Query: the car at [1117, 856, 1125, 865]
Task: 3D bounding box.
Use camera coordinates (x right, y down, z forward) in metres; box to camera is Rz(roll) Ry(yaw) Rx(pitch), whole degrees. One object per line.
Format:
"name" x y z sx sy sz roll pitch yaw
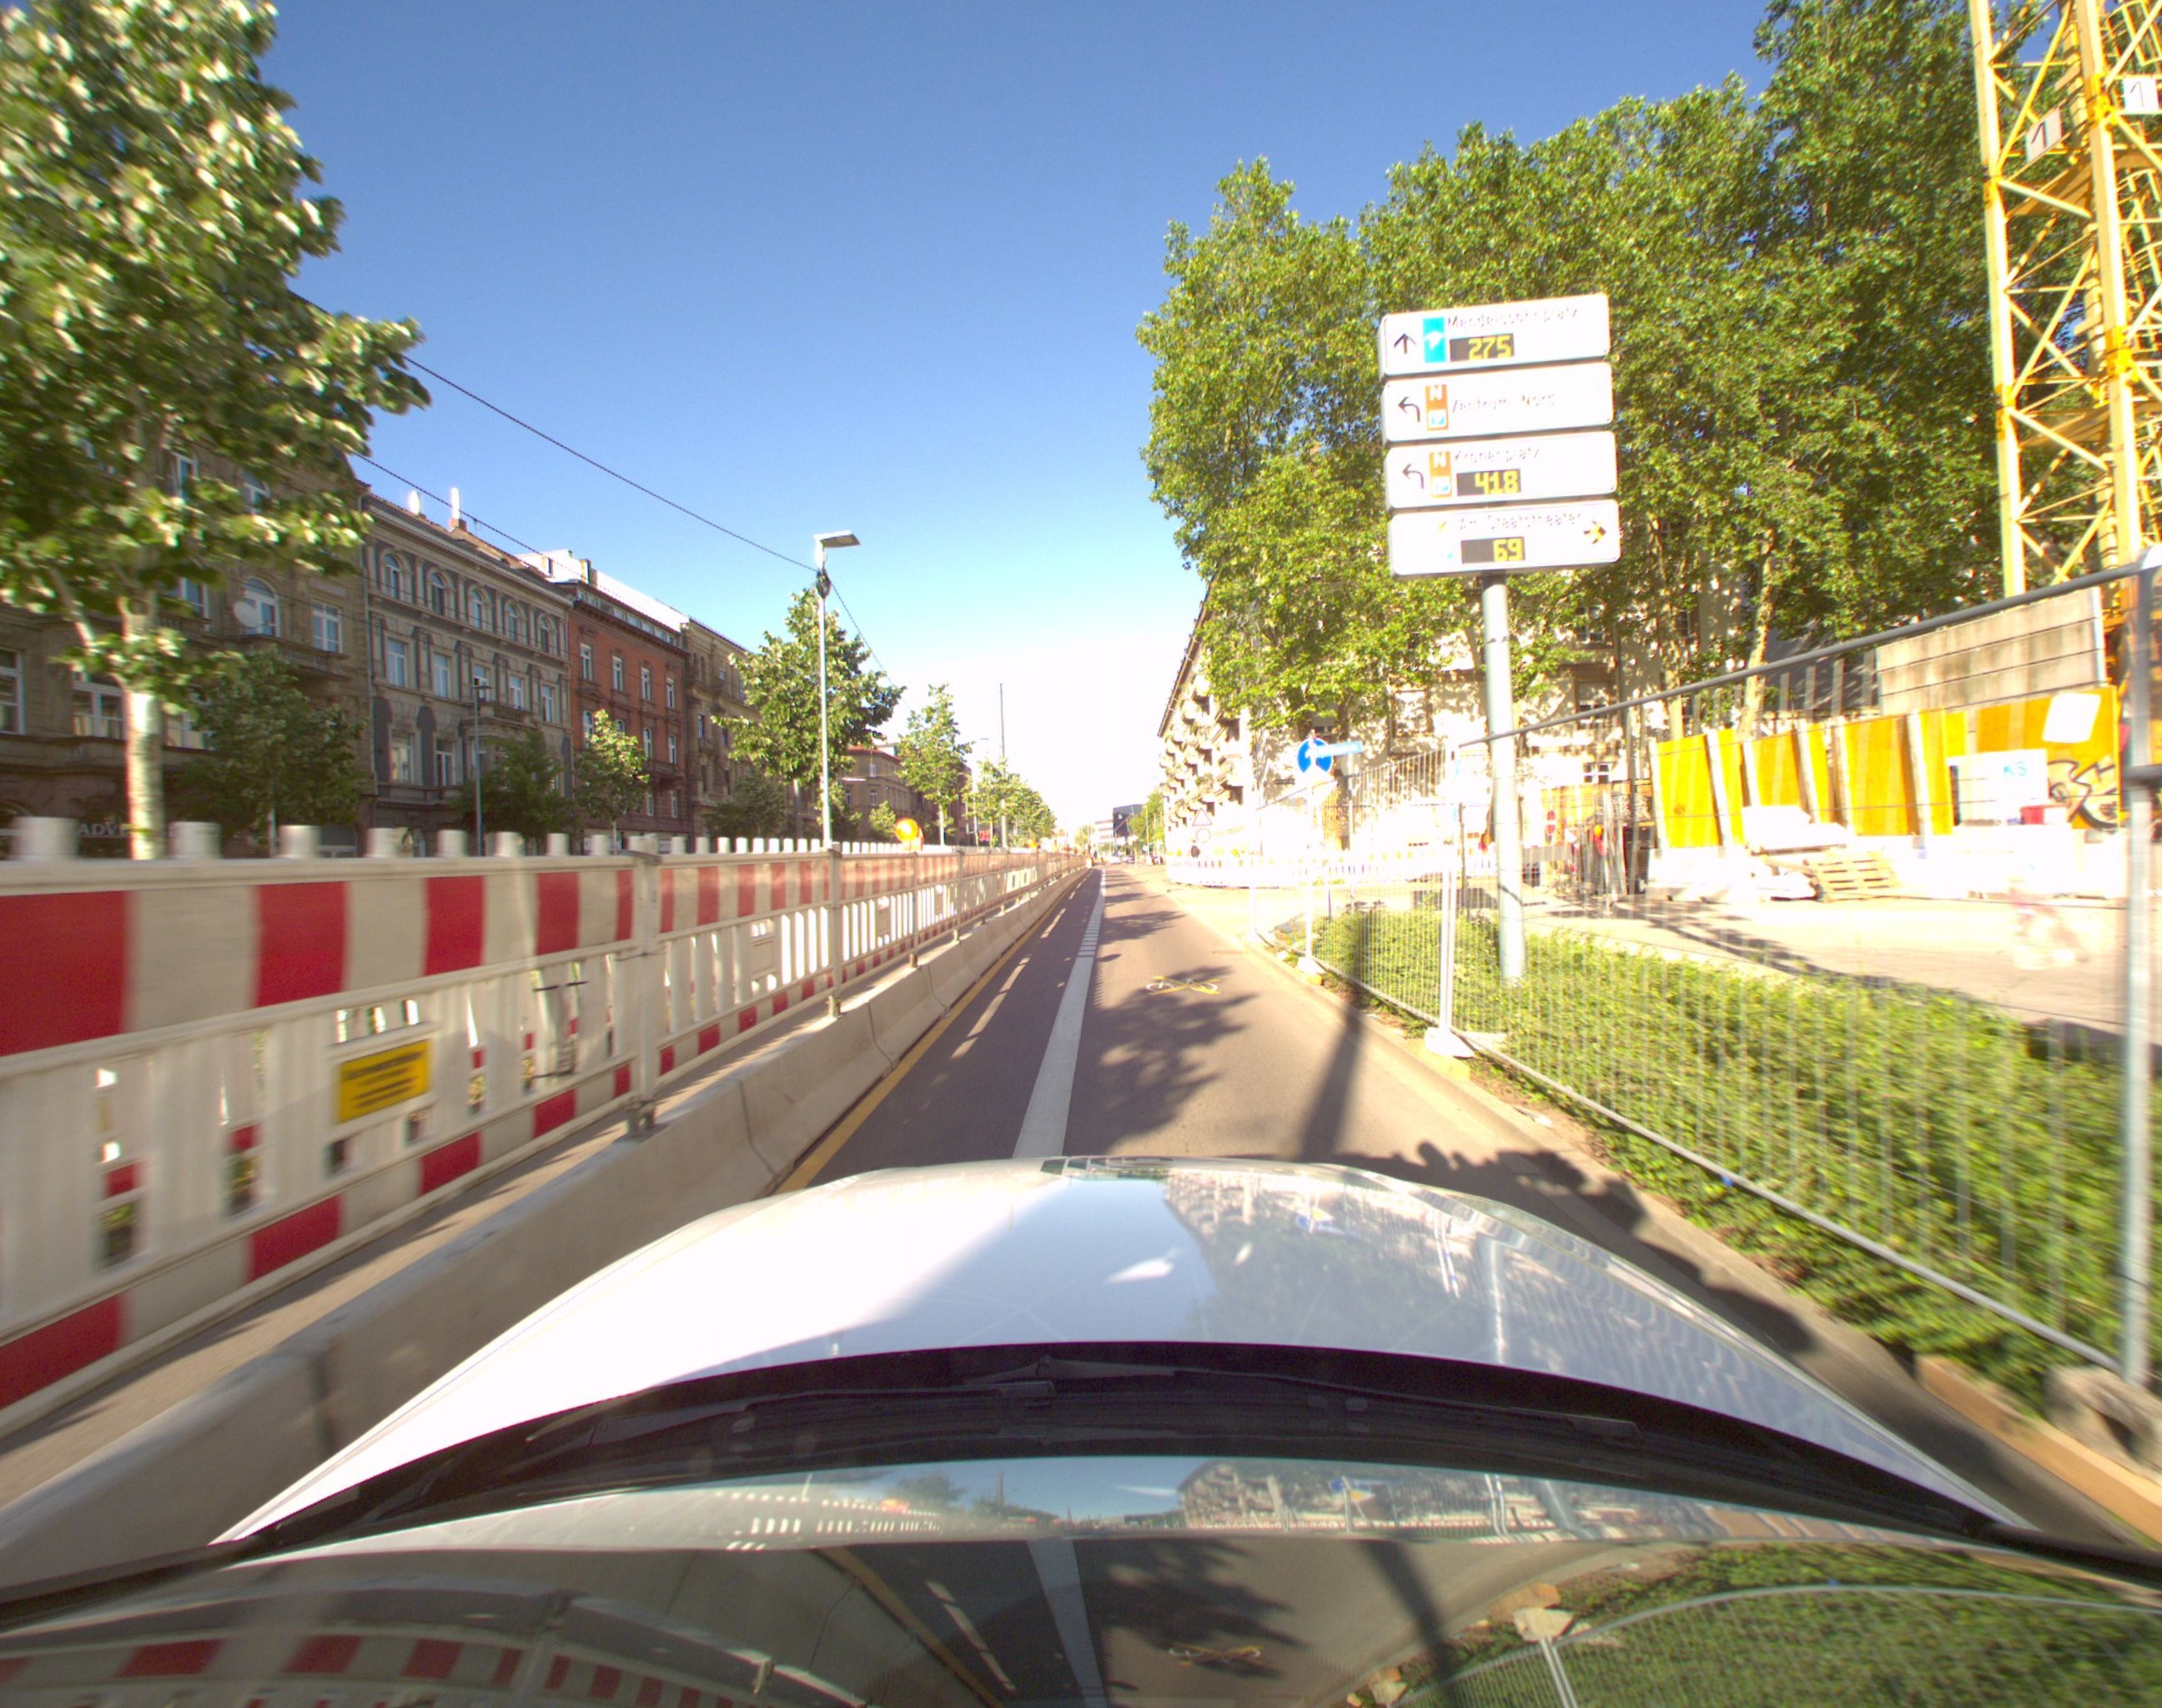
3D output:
"car" 9.551 1.551 194.880 1.876 1.842 3.669 -3 0 2

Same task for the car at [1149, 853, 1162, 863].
"car" 12.871 0.680 140.731 1.875 1.589 3.670 -3 0 3

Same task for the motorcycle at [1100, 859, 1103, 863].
"motorcycle" 4.872 1.612 189.867 0.628 0.896 1.621 -3 0 2

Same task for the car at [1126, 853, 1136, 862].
"car" 10.386 0.782 169.762 1.876 1.842 3.669 -3 0 2

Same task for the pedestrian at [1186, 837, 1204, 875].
"pedestrian" 5.314 0.100 37.916 0.666 1.746 0.778 -3 0 2

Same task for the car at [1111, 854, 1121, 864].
"car" 6.970 0.969 163.229 1.876 1.842 3.669 -3 0 2

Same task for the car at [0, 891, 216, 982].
"car" -21.355 1.698 16.936 1.561 1.562 4.716 -3 0 1

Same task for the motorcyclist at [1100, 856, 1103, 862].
"motorcyclist" 4.849 1.134 189.942 0.628 1.263 0.606 -3 0 1
